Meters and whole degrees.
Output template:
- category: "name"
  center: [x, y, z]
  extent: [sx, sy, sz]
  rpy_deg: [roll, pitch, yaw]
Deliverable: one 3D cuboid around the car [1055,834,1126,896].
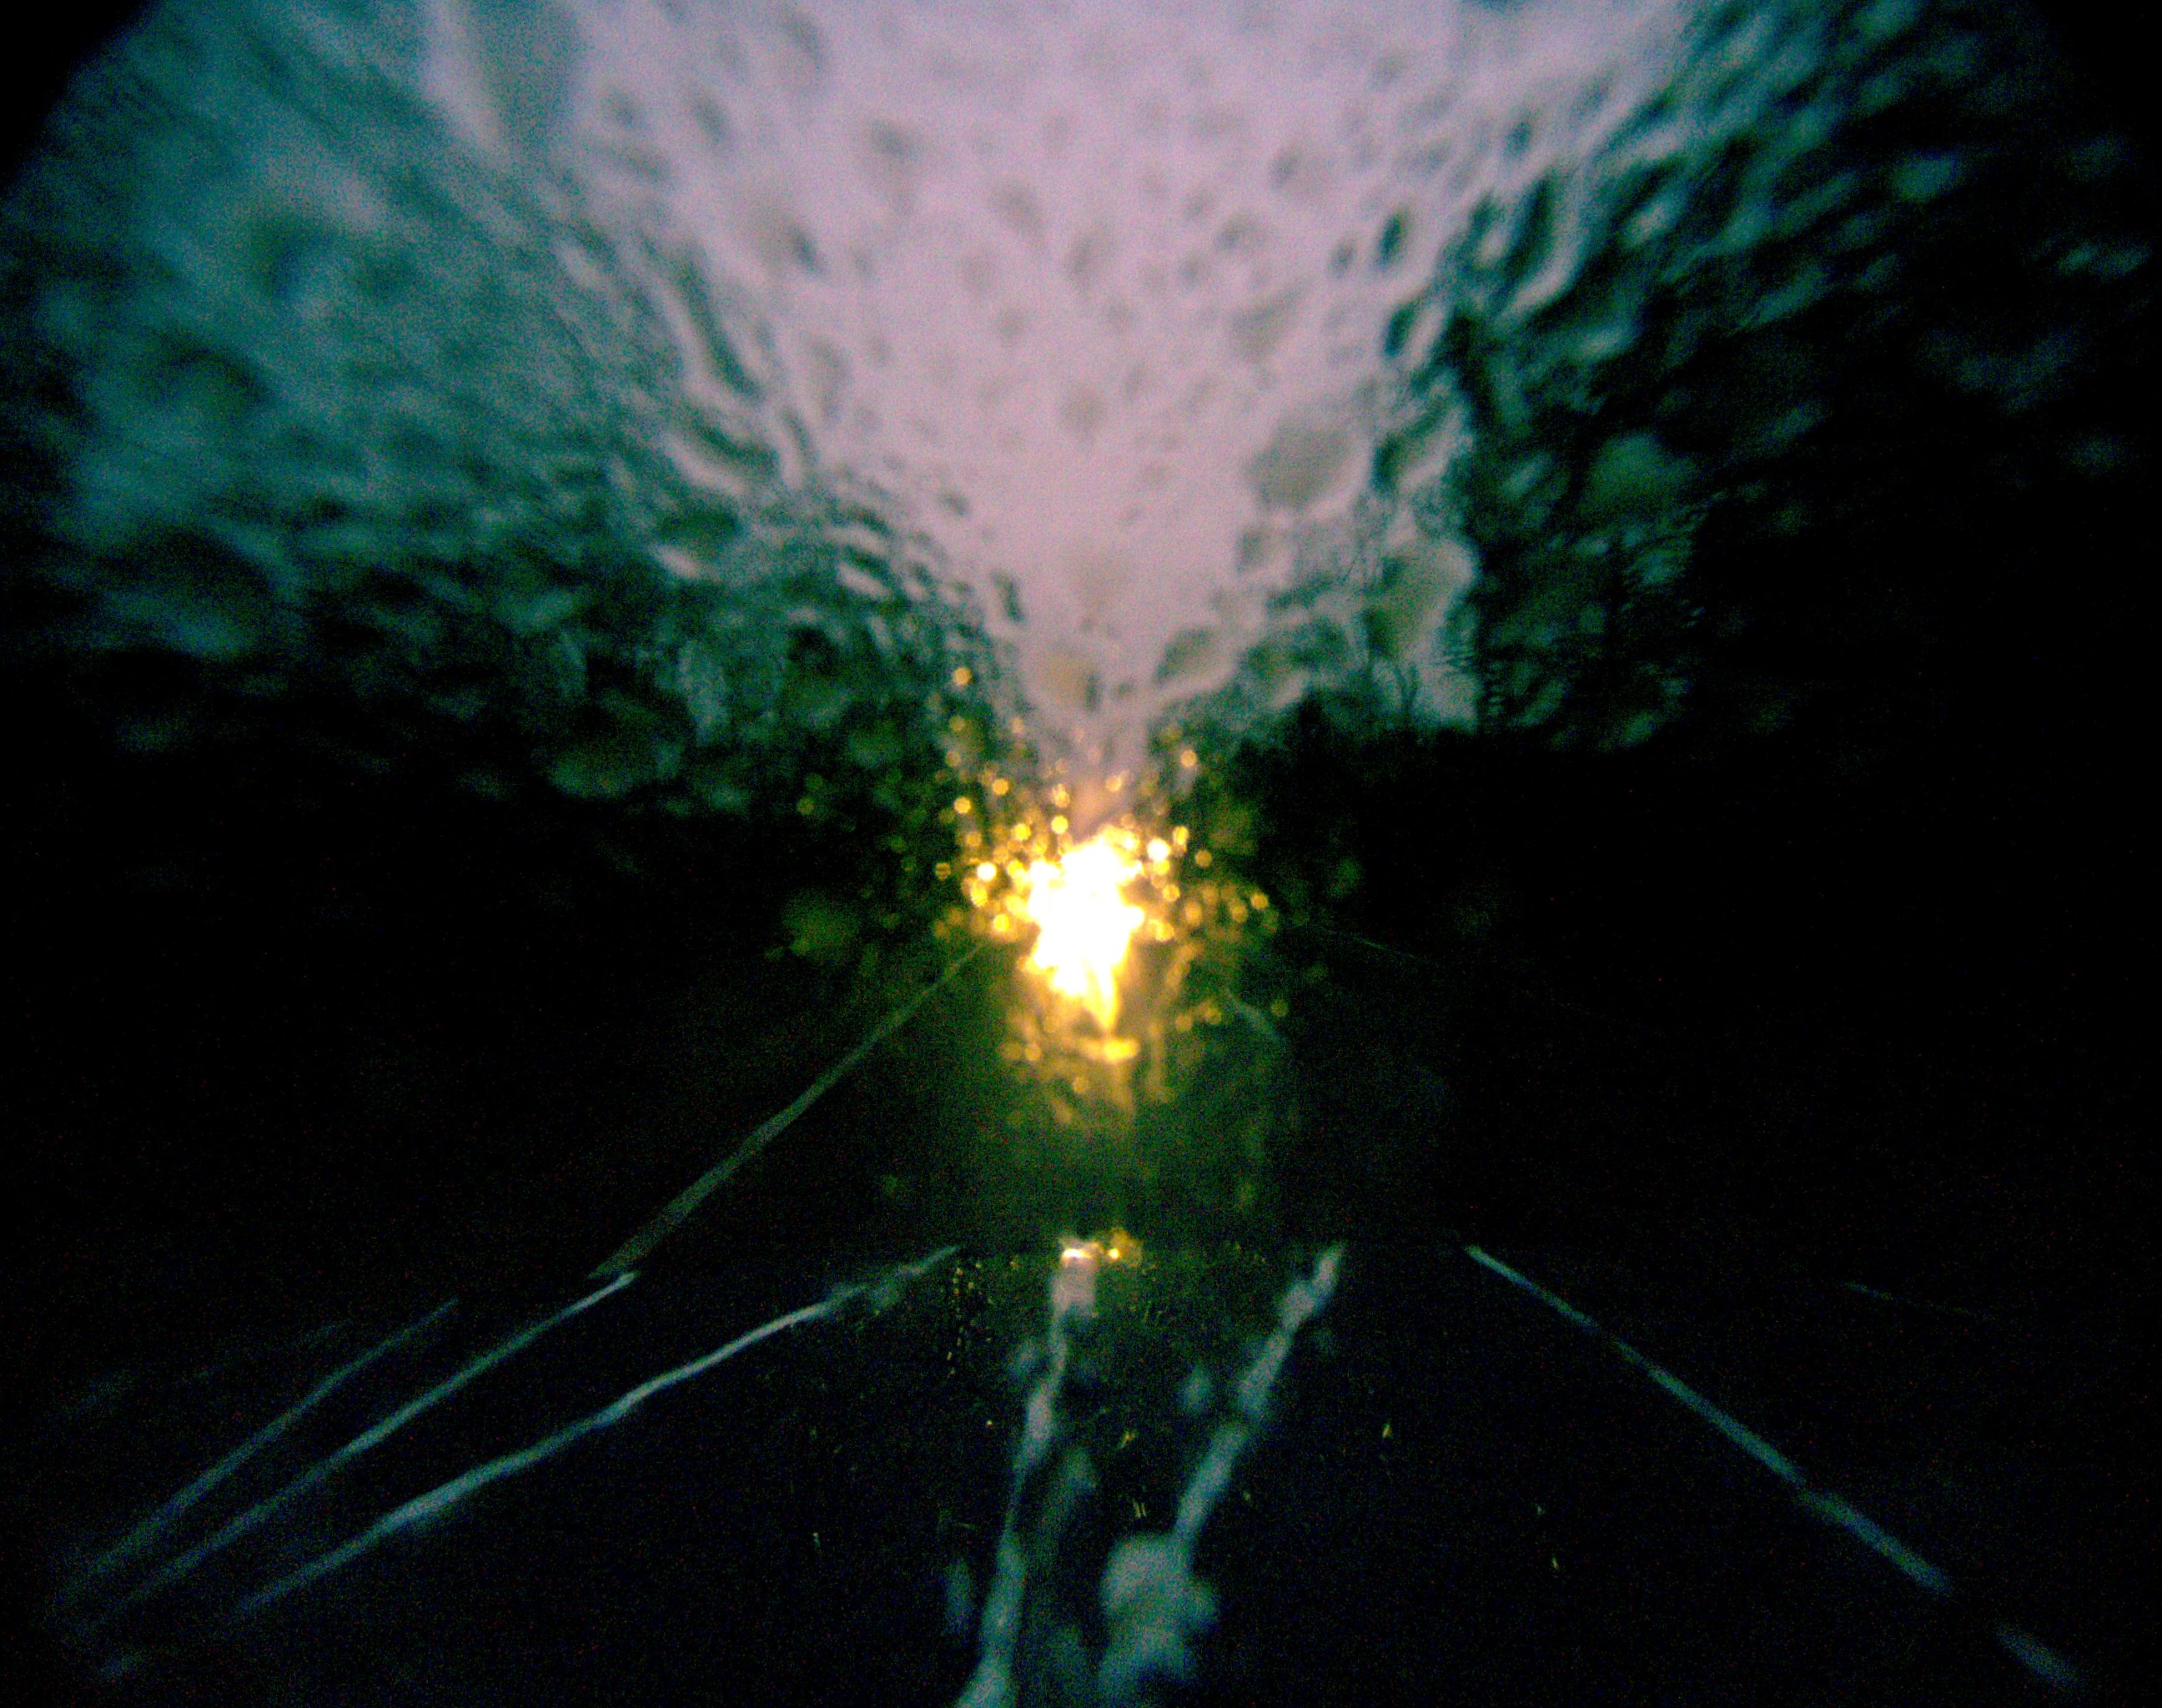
- category: "car"
  center: [0.395, 0.369, 31.251]
  extent: [2.542, 2.213, 6.168]
  rpy_deg: [-2, 1, 1]
